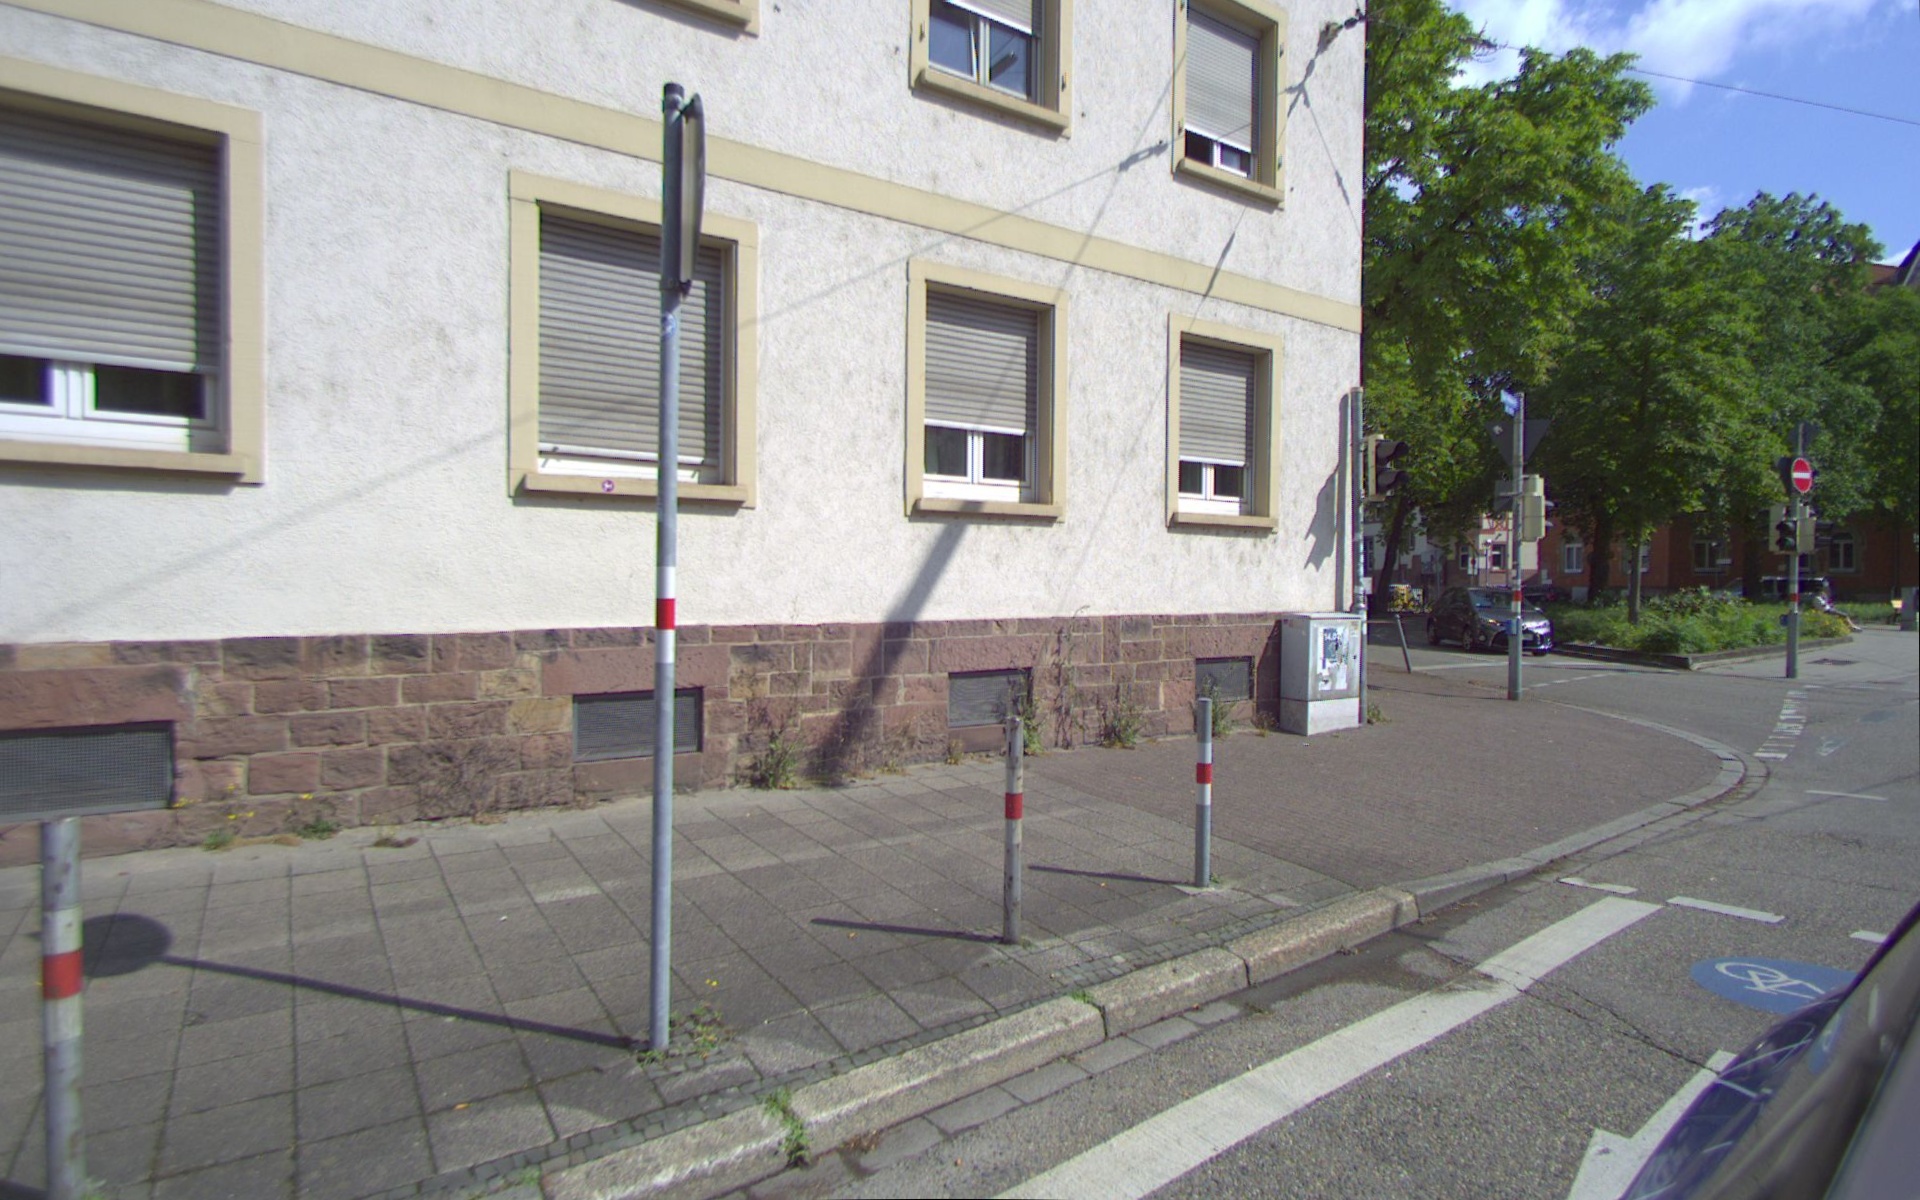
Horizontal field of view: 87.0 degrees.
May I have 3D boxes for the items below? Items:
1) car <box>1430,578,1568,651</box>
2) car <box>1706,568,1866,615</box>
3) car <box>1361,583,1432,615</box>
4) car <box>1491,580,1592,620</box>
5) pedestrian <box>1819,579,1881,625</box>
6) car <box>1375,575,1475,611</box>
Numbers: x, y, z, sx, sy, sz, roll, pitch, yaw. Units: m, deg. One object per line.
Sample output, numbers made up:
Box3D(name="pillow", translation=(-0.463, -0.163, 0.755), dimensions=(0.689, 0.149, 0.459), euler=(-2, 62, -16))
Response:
Box3D(name="car", translation=(12.416, 0.273, 23.563), dimensions=(1.603, 1.509, 3.723), euler=(2, 1, 8))
Box3D(name="car", translation=(37.149, -0.395, 45.626), dimensions=(5.193, 2.039, 2.282), euler=(0, 1, 4))
Box3D(name="car", translation=(32.239, -0.138, 74.879), dimensions=(2.236, 2.297, 5.244), euler=(0, 1, -11))
Box3D(name="car", translation=(35.030, -0.059, 61.131), dimensions=(2.236, 2.297, 5.245), euler=(0, 1, -14))
Box3D(name="pedestrian", translation=(25.647, 0.051, 29.165), dimensions=(0.891, 1.217, 1.159), euler=(0, 4, -41))
Box3D(name="car", translation=(21.994, -0.300, 47.959), dimensions=(1.621, 1.572, 3.995), euler=(-1, -1, -39))
